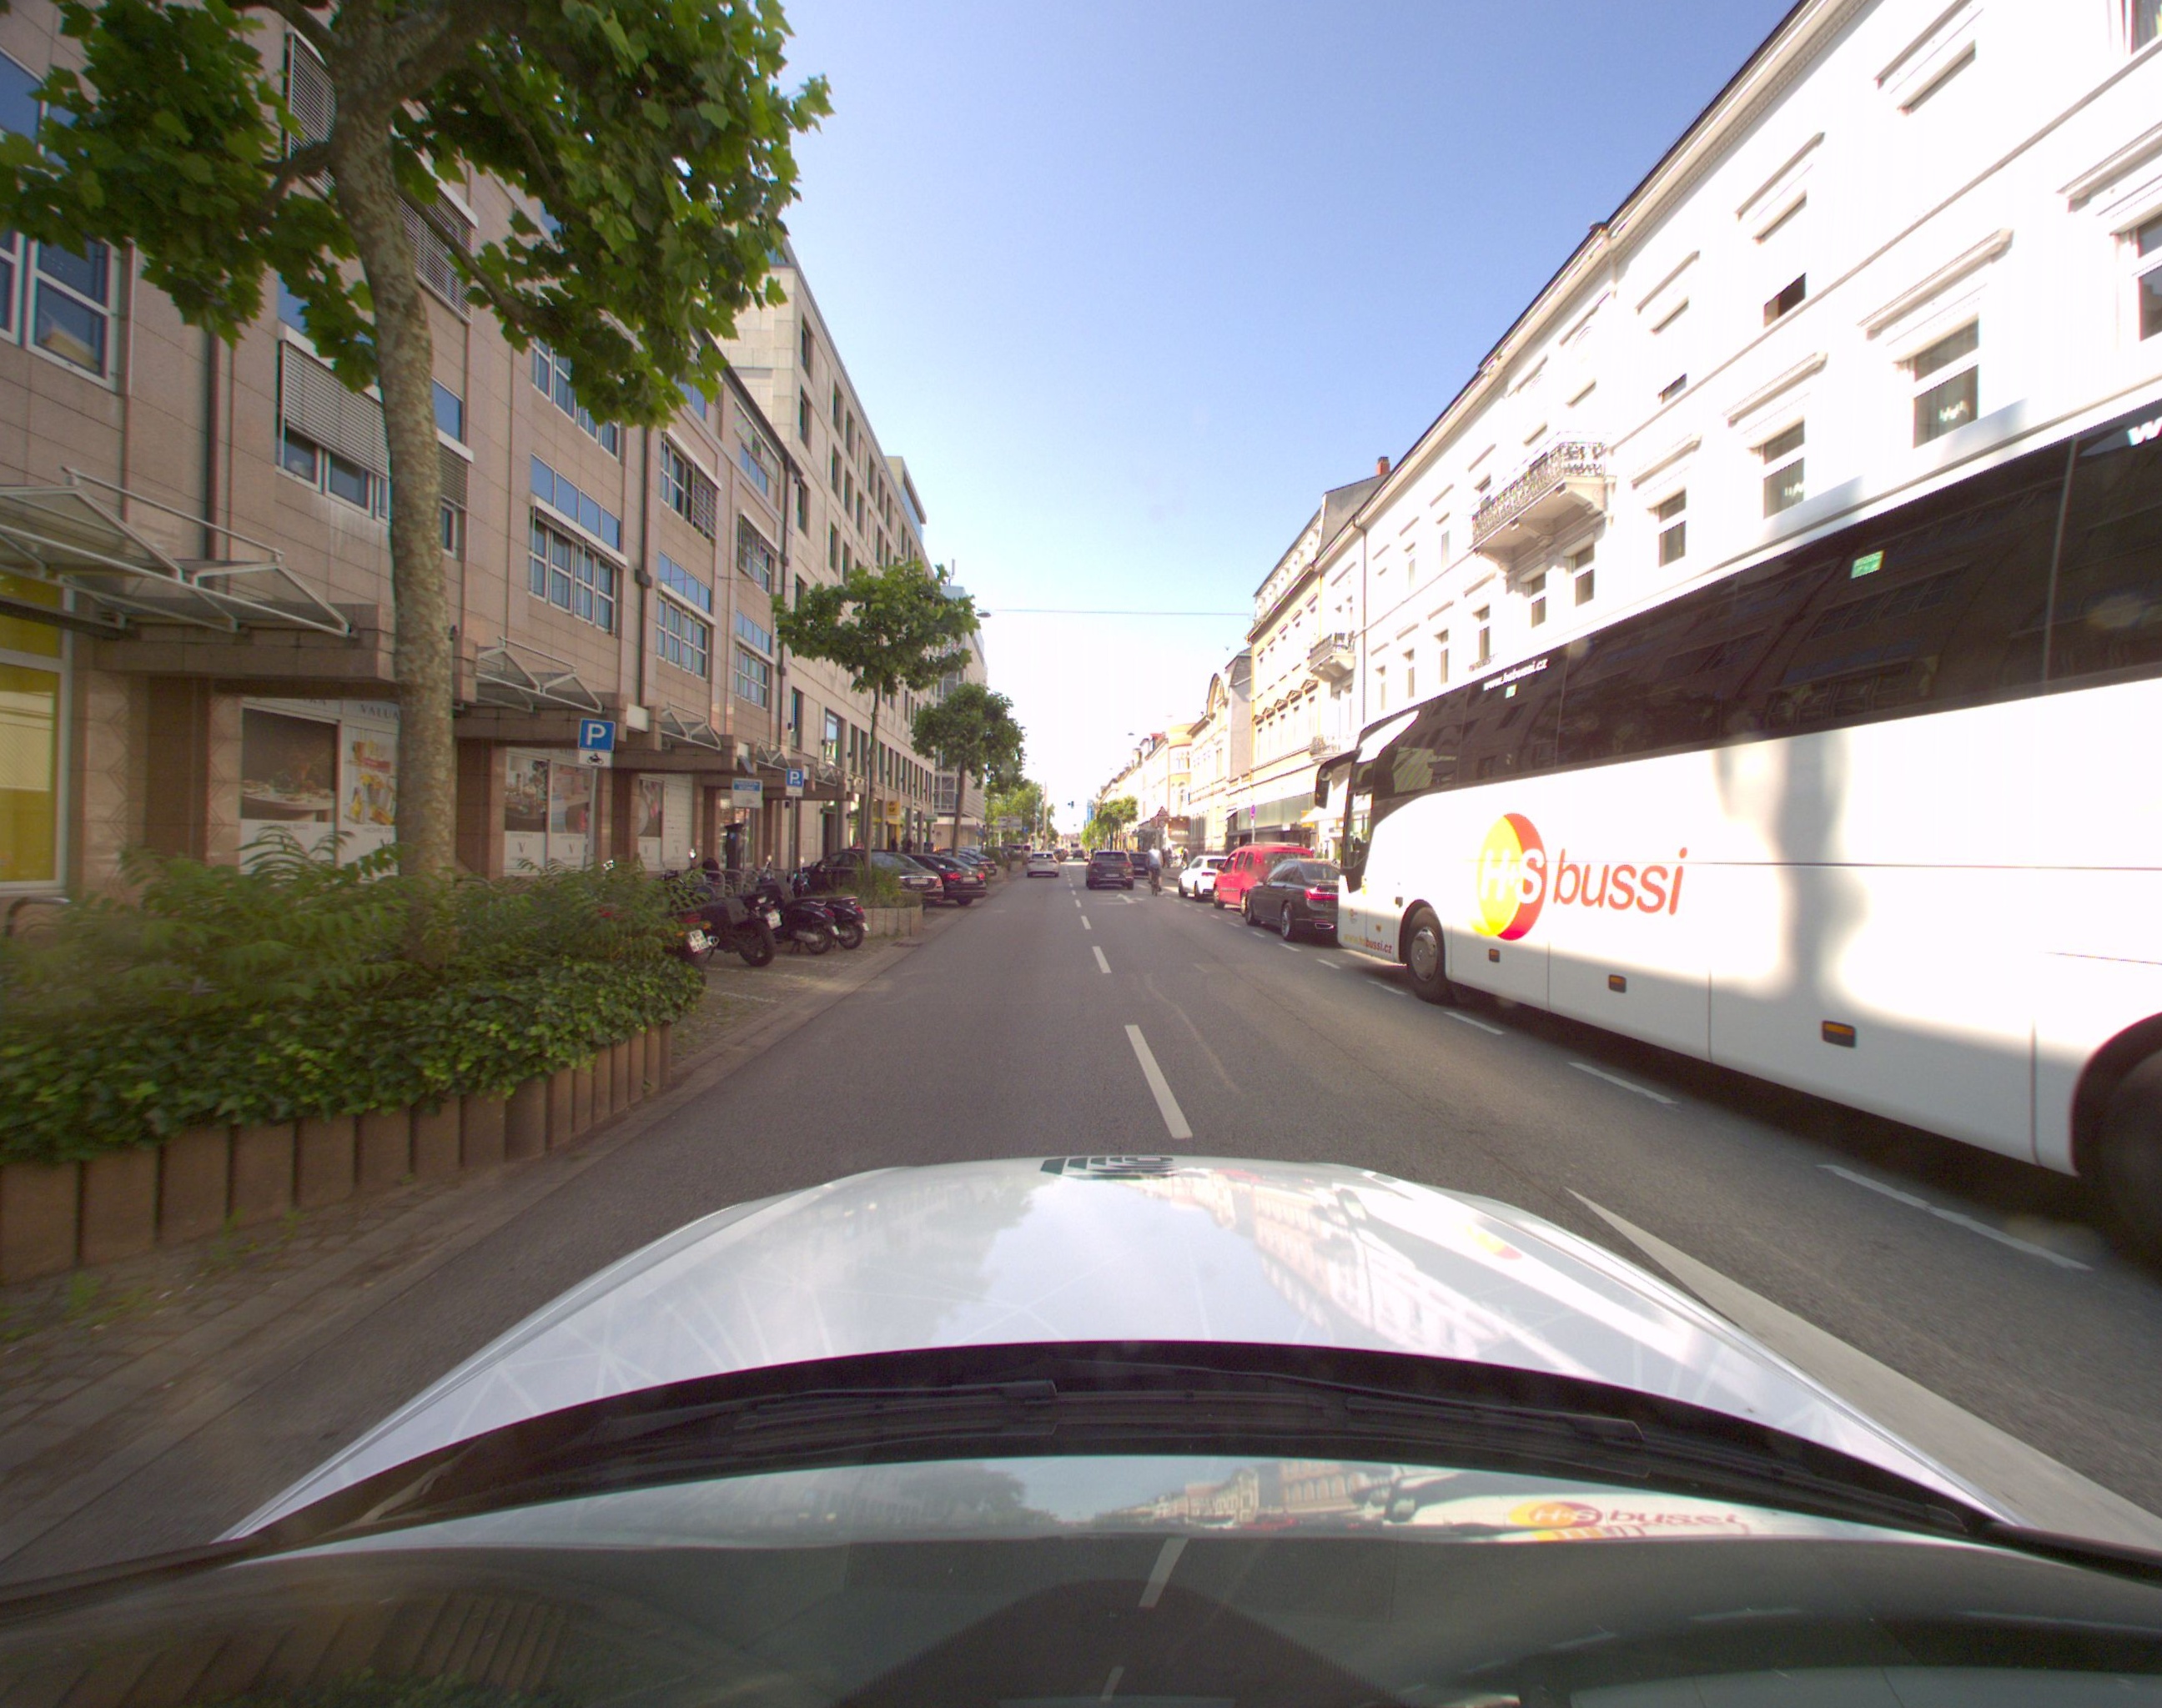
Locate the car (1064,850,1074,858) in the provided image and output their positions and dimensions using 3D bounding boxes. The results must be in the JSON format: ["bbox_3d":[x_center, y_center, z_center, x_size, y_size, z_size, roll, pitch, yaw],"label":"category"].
[{"bbox_3d":[-2.412,0.011,158.322,1.858,1.441,3.996,0,-2,-2],"label":"car"}]

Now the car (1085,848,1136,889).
[{"bbox_3d":[1.148,0.545,32.972,1.828,1.527,3.998,0,0,-1],"label":"car"}]

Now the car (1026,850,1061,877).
[{"bbox_3d":[-2.139,0.503,46.461,1.859,1.441,3.996,-1,0,-3],"label":"car"}]

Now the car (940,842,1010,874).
[{"bbox_3d":[-6.697,0.253,51.460,3.953,1.568,1.709,6,0,23],"label":"car"}]

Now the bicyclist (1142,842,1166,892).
[{"bbox_3d":[2.557,0.439,28.643,0.692,1.673,0.915,3,1,-1],"label":"bicyclist"}]

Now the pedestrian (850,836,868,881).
[{"bbox_3d":[-8.254,0.150,30.311,0.565,1.657,0.635,0,0,-7],"label":"pedestrian"}]

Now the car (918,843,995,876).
[{"bbox_3d":[-6.827,0.303,45.062,3.981,1.500,1.714,5,0,-6],"label":"car"}]

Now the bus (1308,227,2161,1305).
[{"bbox_3d":[5.053,-0.286,5.644,2.874,3.742,12.414,3,0,-2],"label":"bus"}]

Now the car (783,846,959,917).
[{"bbox_3d":[-5.443,0.623,20.790,4.697,1.533,2.003,2,0,41],"label":"car"}]

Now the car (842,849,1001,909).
[{"bbox_3d":[-4.739,0.673,23.776,4.736,1.422,1.895,3,1,38],"label":"car"}]

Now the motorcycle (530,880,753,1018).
[{"bbox_3d":[-4.549,0.906,8.411,2.152,1.170,0.926,2,0,26],"label":"motorcycle"}]

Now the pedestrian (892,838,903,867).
[{"bbox_3d":[-12.828,-0.073,56.957,0.622,2.013,0.700,0,0,-1],"label":"pedestrian"}]

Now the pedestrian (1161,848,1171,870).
[{"bbox_3d":[7.198,0.413,69.065,0.706,1.899,1.153,1,0,2],"label":"pedestrian"}]

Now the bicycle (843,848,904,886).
[{"bbox_3d":[-7.652,0.468,30.100,2.064,1.288,0.366,3,-1,-9],"label":"bicycle"}]

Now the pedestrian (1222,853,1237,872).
[{"bbox_3d":[10.291,0.581,56.270,0.932,1.268,0.568,-2,0,4],"label":"pedestrian"}]

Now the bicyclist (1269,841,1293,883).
[{"bbox_3d":[7.136,0.282,29.088,0.623,1.476,0.889,0,0,0],"label":"bicyclist"}]

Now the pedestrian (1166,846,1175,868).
[{"bbox_3d":[7.239,0.225,66.137,0.649,1.809,0.730,1,0,2],"label":"pedestrian"}]

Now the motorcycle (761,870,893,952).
[{"bbox_3d":[-4.047,0.870,12.990,1.895,1.170,0.764,2,0,19],"label":"motorcycle"}]

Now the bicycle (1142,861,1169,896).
[{"bbox_3d":[2.605,0.836,28.770,0.662,1.120,2.242,3,1,-1],"label":"bicycle"}]

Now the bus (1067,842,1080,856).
[{"bbox_3d":[-2.023,-1.297,215.546,2.765,3.605,8.959,0,0,-5],"label":"bus"}]

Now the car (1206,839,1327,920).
[{"bbox_3d":[4.757,0.582,21.550,1.824,1.863,4.346,2,0,-5],"label":"car"}]

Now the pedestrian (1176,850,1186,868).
[{"bbox_3d":[9.610,0.441,77.993,0.790,1.720,0.728,0,0,-7],"label":"pedestrian"}]

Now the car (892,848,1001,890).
[{"bbox_3d":[-5.579,0.572,33.377,4.593,1.408,1.918,3,1,42],"label":"car"}]

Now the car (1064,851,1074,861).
[{"bbox_3d":[-2.342,0.407,157.967,1.858,1.706,3.996,-4,-2,-2],"label":"car"}]

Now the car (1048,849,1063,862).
[{"bbox_3d":[-2.907,0.191,93.345,1.738,1.441,3.997,0,0,-2],"label":"car"}]

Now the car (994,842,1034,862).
[{"bbox_3d":[-8.099,-0.278,98.606,4.664,2.003,1.953,4,-1,38],"label":"car"}]

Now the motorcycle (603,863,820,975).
[{"bbox_3d":[-4.867,0.798,10.811,2.326,1.268,1.300,2,0,19],"label":"motorcycle"}]

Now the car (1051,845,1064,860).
[{"bbox_3d":[-3.611,-0.197,122.497,1.858,2.030,3.996,1,-1,-2],"label":"car"}]

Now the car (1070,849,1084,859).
[{"bbox_3d":[-0.587,0.048,119.896,1.858,1.441,3.997,0,0,-2],"label":"car"}]

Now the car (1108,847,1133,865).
[{"bbox_3d":[3.206,0.154,66.327,1.816,1.385,3.999,0,1,-1],"label":"car"}]

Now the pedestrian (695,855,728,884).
[{"bbox_3d":[-11.293,0.458,24.909,0.564,0.809,0.774,6,0,-2],"label":"pedestrian"}]

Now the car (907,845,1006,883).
[{"bbox_3d":[-5.911,0.439,38.616,4.300,1.513,1.844,3,0,28],"label":"car"}]

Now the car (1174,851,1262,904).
[{"bbox_3d":[4.409,0.718,26.994,1.809,1.466,4.574,2,1,-4],"label":"car"}]

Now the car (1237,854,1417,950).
[{"bbox_3d":[4.547,0.791,16.003,1.853,1.470,5.223,2,0,-1],"label":"car"}]

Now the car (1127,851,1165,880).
[{"bbox_3d":[3.669,0.628,46.245,1.816,1.409,3.186,3,1,-1],"label":"car"}]

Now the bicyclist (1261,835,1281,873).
[{"bbox_3d":[8.112,0.015,34.796,0.655,1.595,0.920,0,0,0],"label":"bicyclist"}]

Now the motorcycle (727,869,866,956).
[{"bbox_3d":[-4.289,0.850,12.275,1.895,1.170,0.732,2,0,19],"label":"motorcycle"}]

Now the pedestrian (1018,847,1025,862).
[{"bbox_3d":[-6.654,0.076,91.356,0.616,1.615,0.545,2,-2,-31],"label":"pedestrian"}]

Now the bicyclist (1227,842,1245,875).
[{"bbox_3d":[7.548,0.212,39.764,0.707,1.595,0.963,0,0,0],"label":"bicyclist"}]
